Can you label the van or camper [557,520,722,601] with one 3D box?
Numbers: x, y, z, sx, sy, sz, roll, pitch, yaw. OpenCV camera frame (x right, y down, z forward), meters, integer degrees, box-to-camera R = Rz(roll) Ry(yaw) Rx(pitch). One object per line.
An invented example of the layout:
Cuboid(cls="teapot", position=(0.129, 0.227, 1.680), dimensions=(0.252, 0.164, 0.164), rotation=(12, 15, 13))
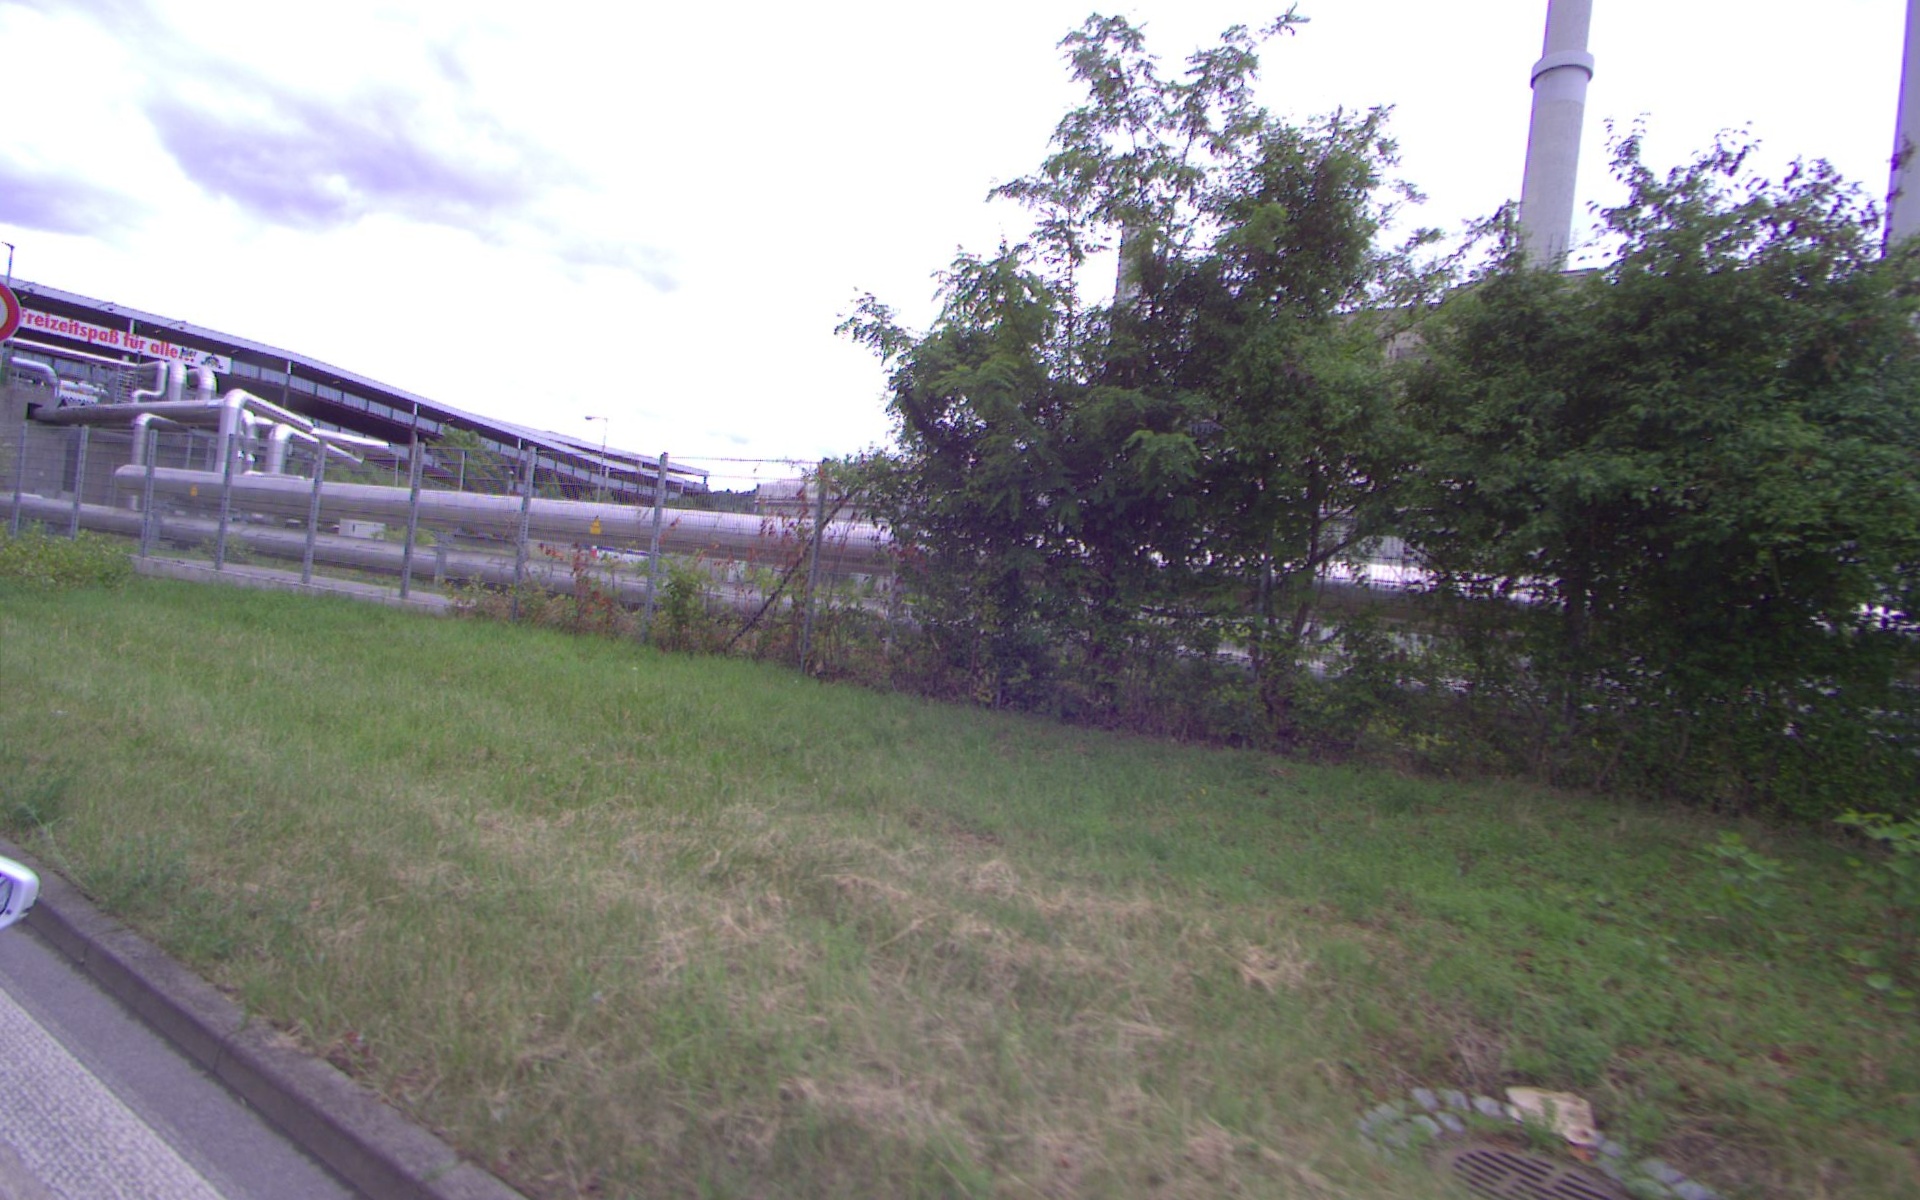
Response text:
Cuboid(cls="van or camper", position=(-13.484, -1.617, 42.691), dimensions=(2.540, 2.579, 6.098), rotation=(6, -1, 41))
